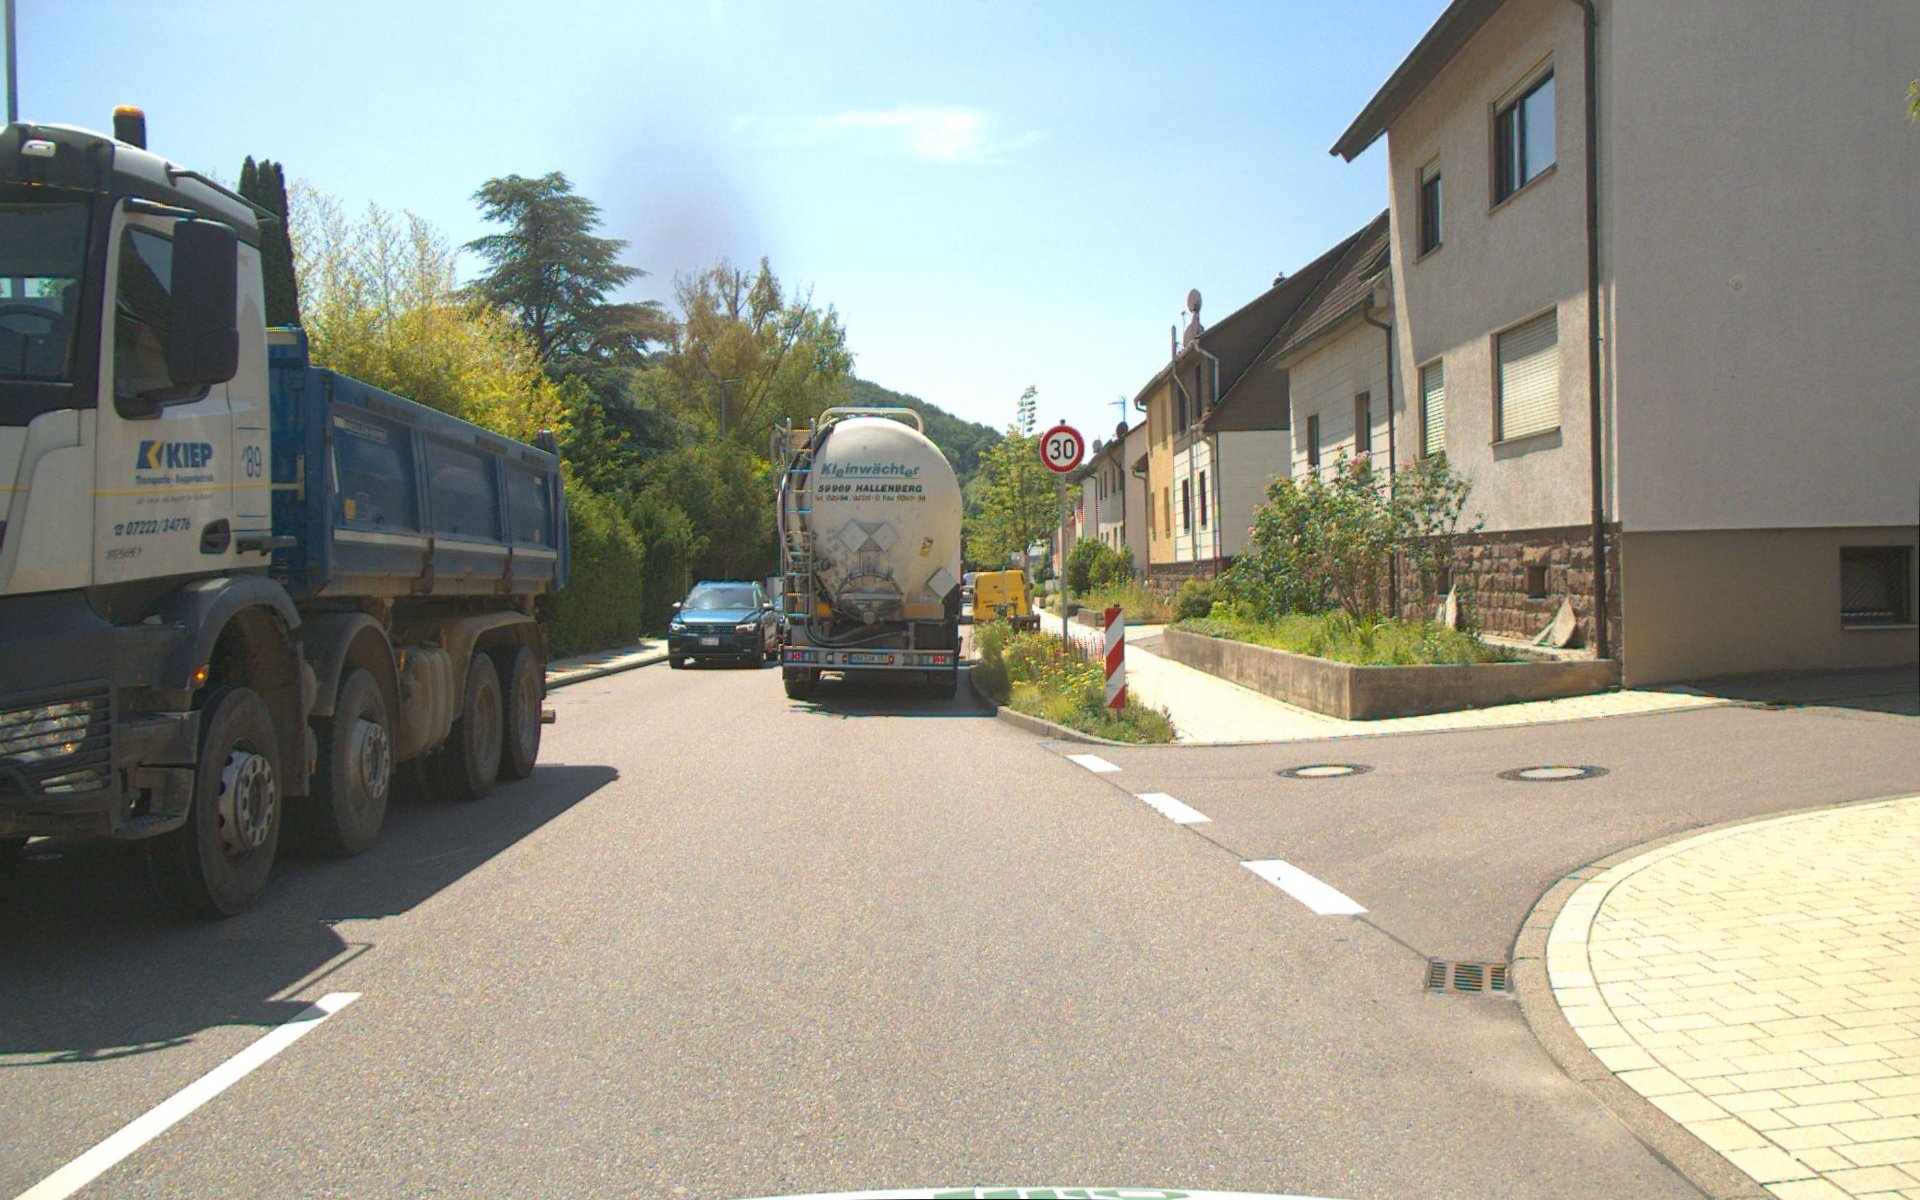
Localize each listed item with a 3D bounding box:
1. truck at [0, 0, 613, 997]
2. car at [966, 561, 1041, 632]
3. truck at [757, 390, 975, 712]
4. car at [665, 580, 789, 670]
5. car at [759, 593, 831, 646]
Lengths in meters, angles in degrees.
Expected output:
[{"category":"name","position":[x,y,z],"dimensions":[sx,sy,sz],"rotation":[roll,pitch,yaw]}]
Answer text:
[{"category":"truck","position":[-4.518,-0.457,10.397],"dimensions":[2.489,3.803,8.624],"rotation":[-2,0,2]},{"category":"car","position":[1.394,-0.100,55.686],"dimensions":[2.146,2.048,5.622],"rotation":[-5,0,-1]},{"category":"truck","position":[-1.154,-0.692,26.662],"dimensions":[2.693,4.127,10.891],"rotation":[0,1,1]},{"category":"car","position":[-4.628,0.480,33.487],"dimensions":[1.849,1.674,4.613],"rotation":[1,0,0]},{"category":"car","position":[-4.665,0.543,47.164],"dimensions":[1.731,1.427,4.246],"rotation":[1,0,-2]}]
